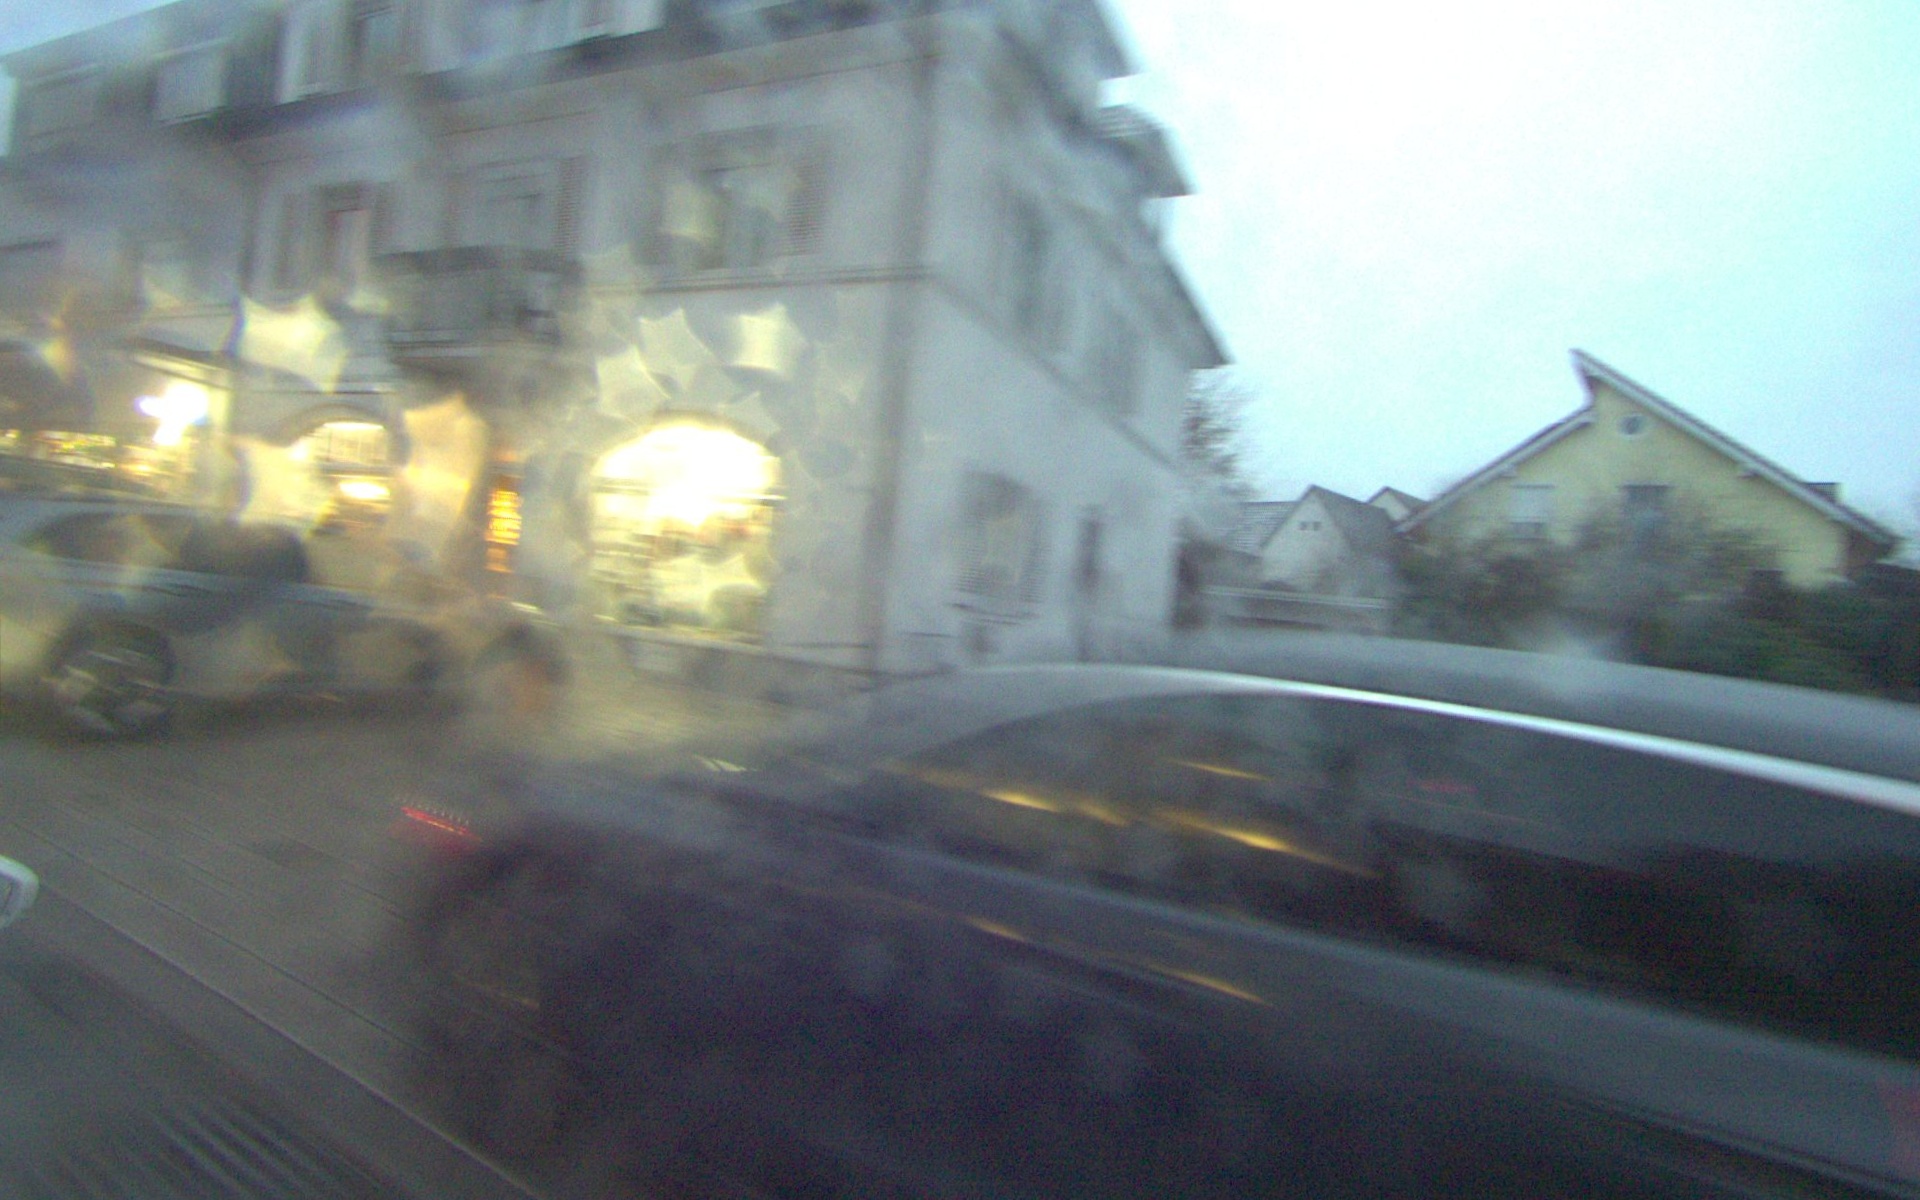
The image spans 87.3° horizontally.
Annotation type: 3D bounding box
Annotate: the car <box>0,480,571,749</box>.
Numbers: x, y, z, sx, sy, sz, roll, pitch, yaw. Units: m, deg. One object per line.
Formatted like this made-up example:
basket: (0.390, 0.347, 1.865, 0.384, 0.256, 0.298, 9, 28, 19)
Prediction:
car: (-5.400, 0.062, 7.490, 1.864, 1.492, 4.474, 7, 1, 27)

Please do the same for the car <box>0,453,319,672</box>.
car: (-7.954, -0.361, 8.814, 1.685, 1.702, 3.512, 7, 1, 23)

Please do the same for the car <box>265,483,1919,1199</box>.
car: (0.475, 0.736, 2.572, 4.592, 1.567, 1.884, 7, 1, 31)
